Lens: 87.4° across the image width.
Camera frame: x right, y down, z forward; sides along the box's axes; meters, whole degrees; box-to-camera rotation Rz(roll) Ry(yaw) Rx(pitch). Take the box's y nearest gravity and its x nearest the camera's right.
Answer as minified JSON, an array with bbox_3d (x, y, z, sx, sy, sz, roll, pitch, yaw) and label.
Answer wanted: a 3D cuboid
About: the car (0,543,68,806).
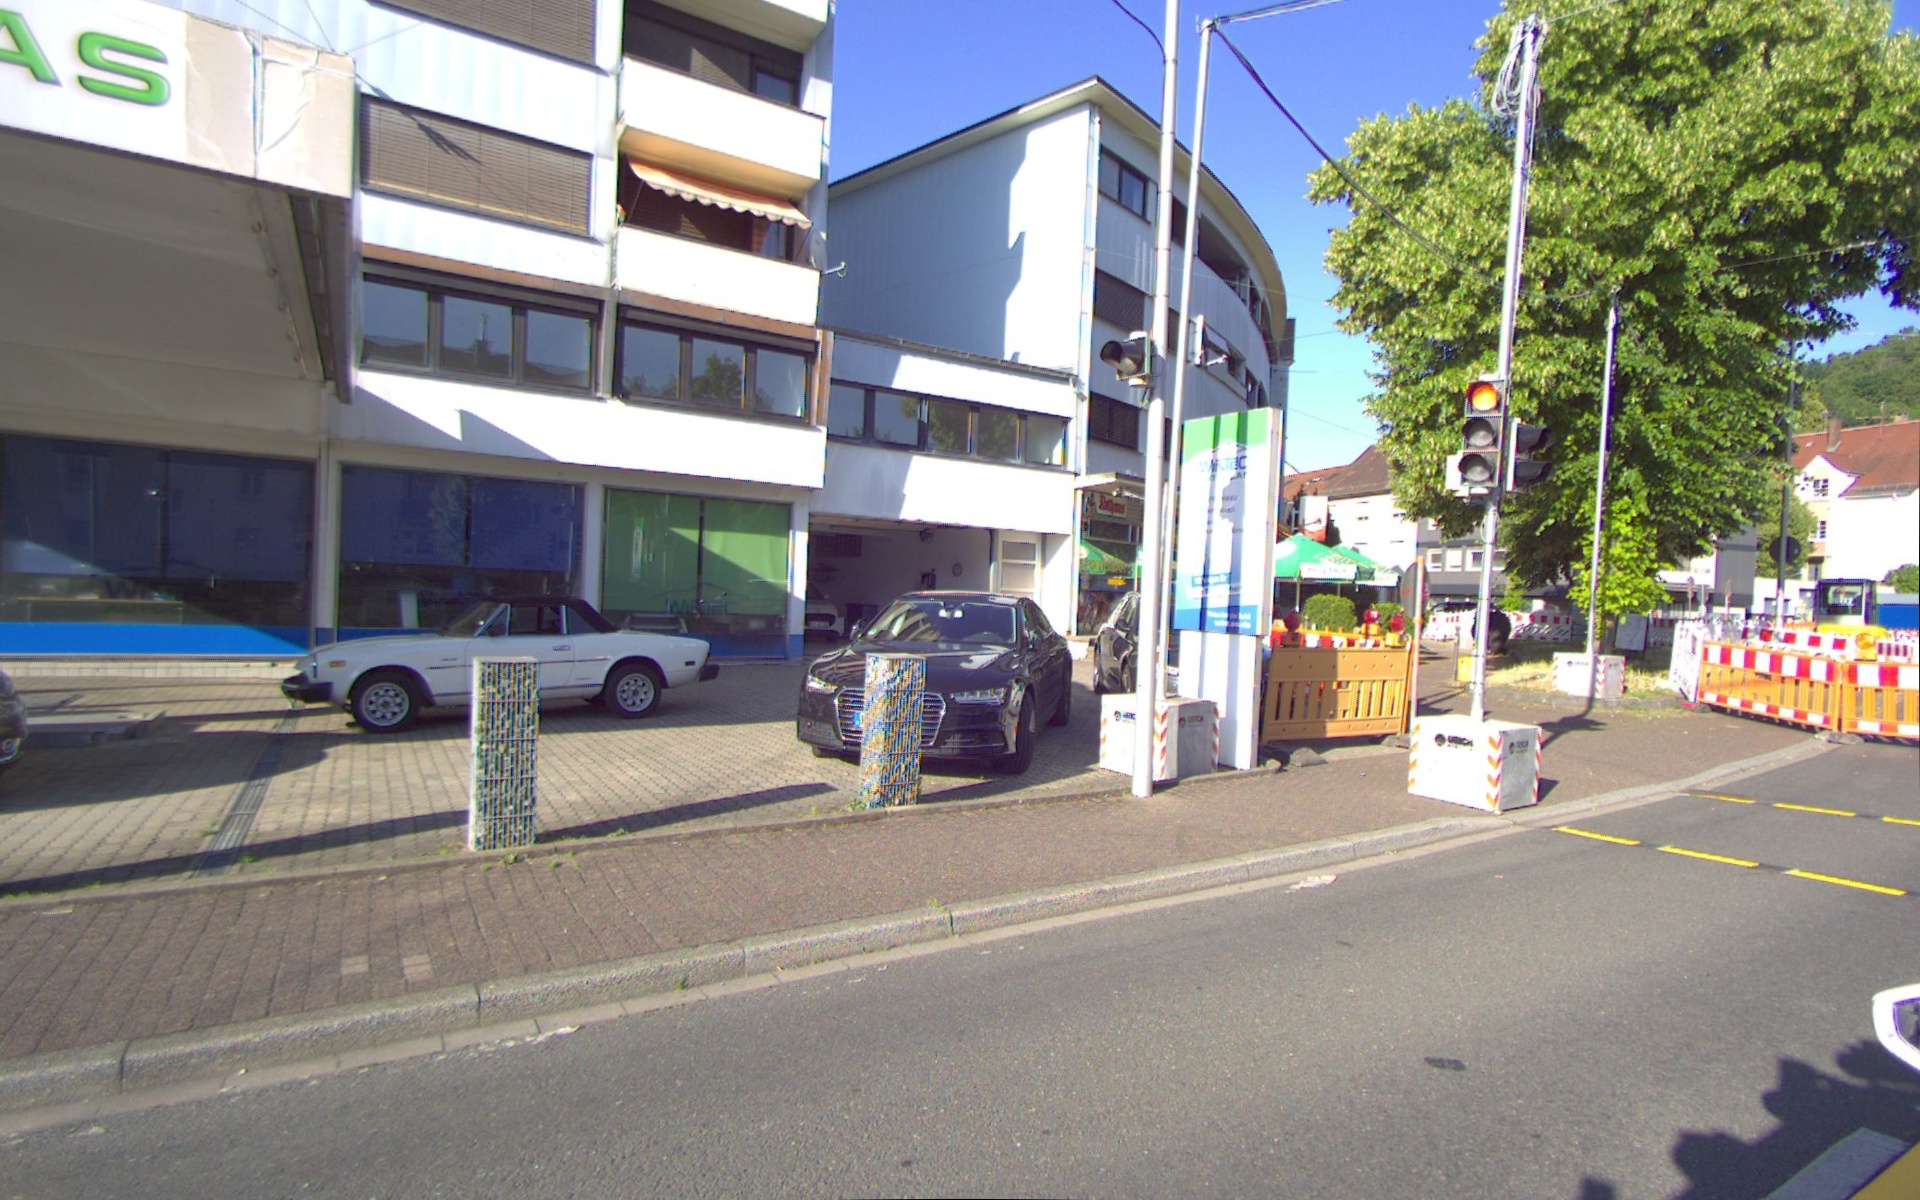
[{"bbox_3d":[-7.486,0.386,5.858,3.325,1.589,1.623,2,1,8],"label":"car"}]

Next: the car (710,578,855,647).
[{"bbox_3d":[-4.357,0.260,24.169,1.980,1.486,3.961,1,0,-34],"label":"car"}]

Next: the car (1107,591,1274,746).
[{"bbox_3d":[2.801,0.675,12.439,1.617,1.474,4.301,3,1,12],"label":"car"}]

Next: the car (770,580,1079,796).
[{"bbox_3d":[-0.047,0.592,9.466,1.872,1.474,4.315,3,1,12],"label":"car"}]

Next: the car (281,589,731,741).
[{"bbox_3d":[-4.644,0.571,10.529,4.097,1.301,1.576,0,1,-35],"label":"car"}]
